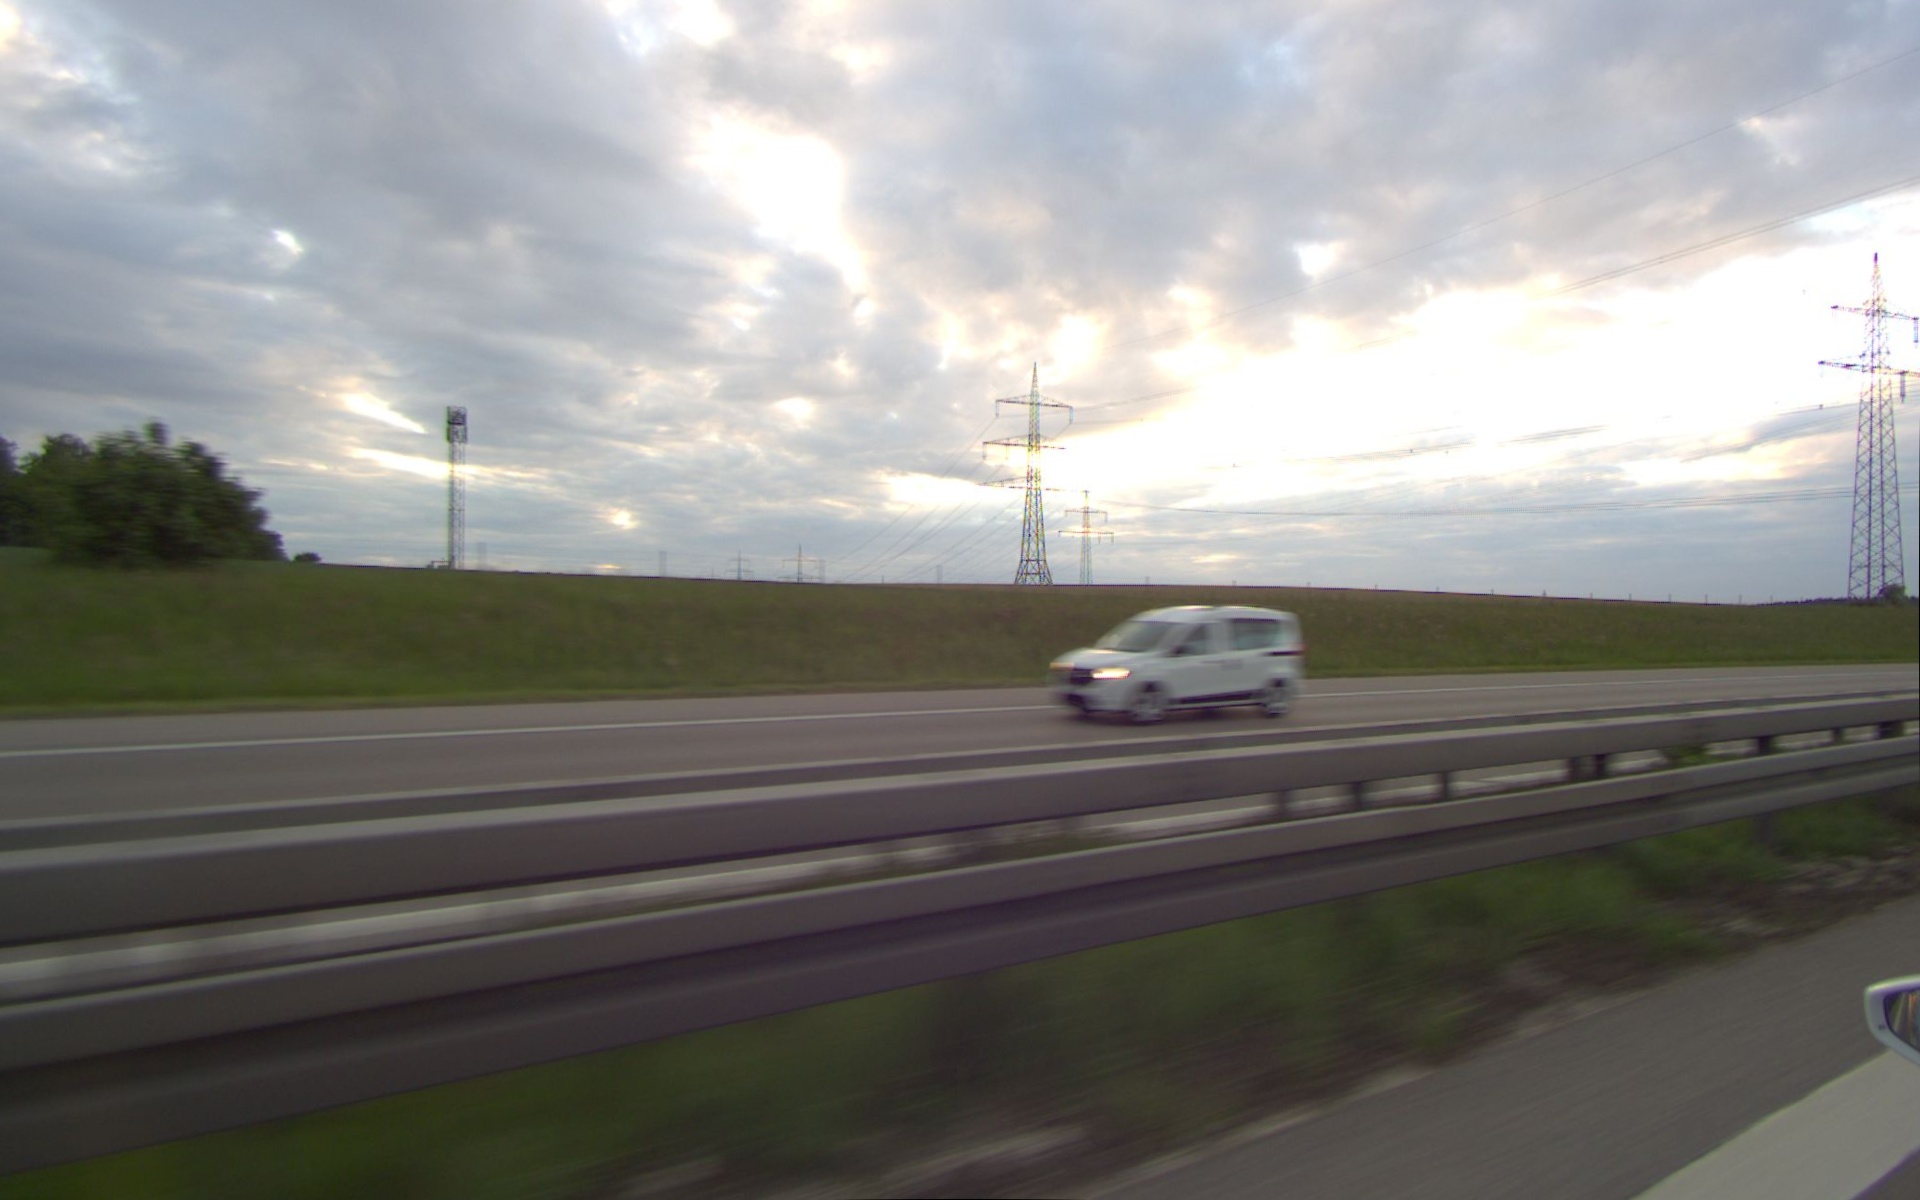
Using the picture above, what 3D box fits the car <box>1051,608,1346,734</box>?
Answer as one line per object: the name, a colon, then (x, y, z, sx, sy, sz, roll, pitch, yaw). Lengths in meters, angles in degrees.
car: (4.009, 1.100, 16.582, 4.937, 1.826, 1.752, 1, -2, -31)
